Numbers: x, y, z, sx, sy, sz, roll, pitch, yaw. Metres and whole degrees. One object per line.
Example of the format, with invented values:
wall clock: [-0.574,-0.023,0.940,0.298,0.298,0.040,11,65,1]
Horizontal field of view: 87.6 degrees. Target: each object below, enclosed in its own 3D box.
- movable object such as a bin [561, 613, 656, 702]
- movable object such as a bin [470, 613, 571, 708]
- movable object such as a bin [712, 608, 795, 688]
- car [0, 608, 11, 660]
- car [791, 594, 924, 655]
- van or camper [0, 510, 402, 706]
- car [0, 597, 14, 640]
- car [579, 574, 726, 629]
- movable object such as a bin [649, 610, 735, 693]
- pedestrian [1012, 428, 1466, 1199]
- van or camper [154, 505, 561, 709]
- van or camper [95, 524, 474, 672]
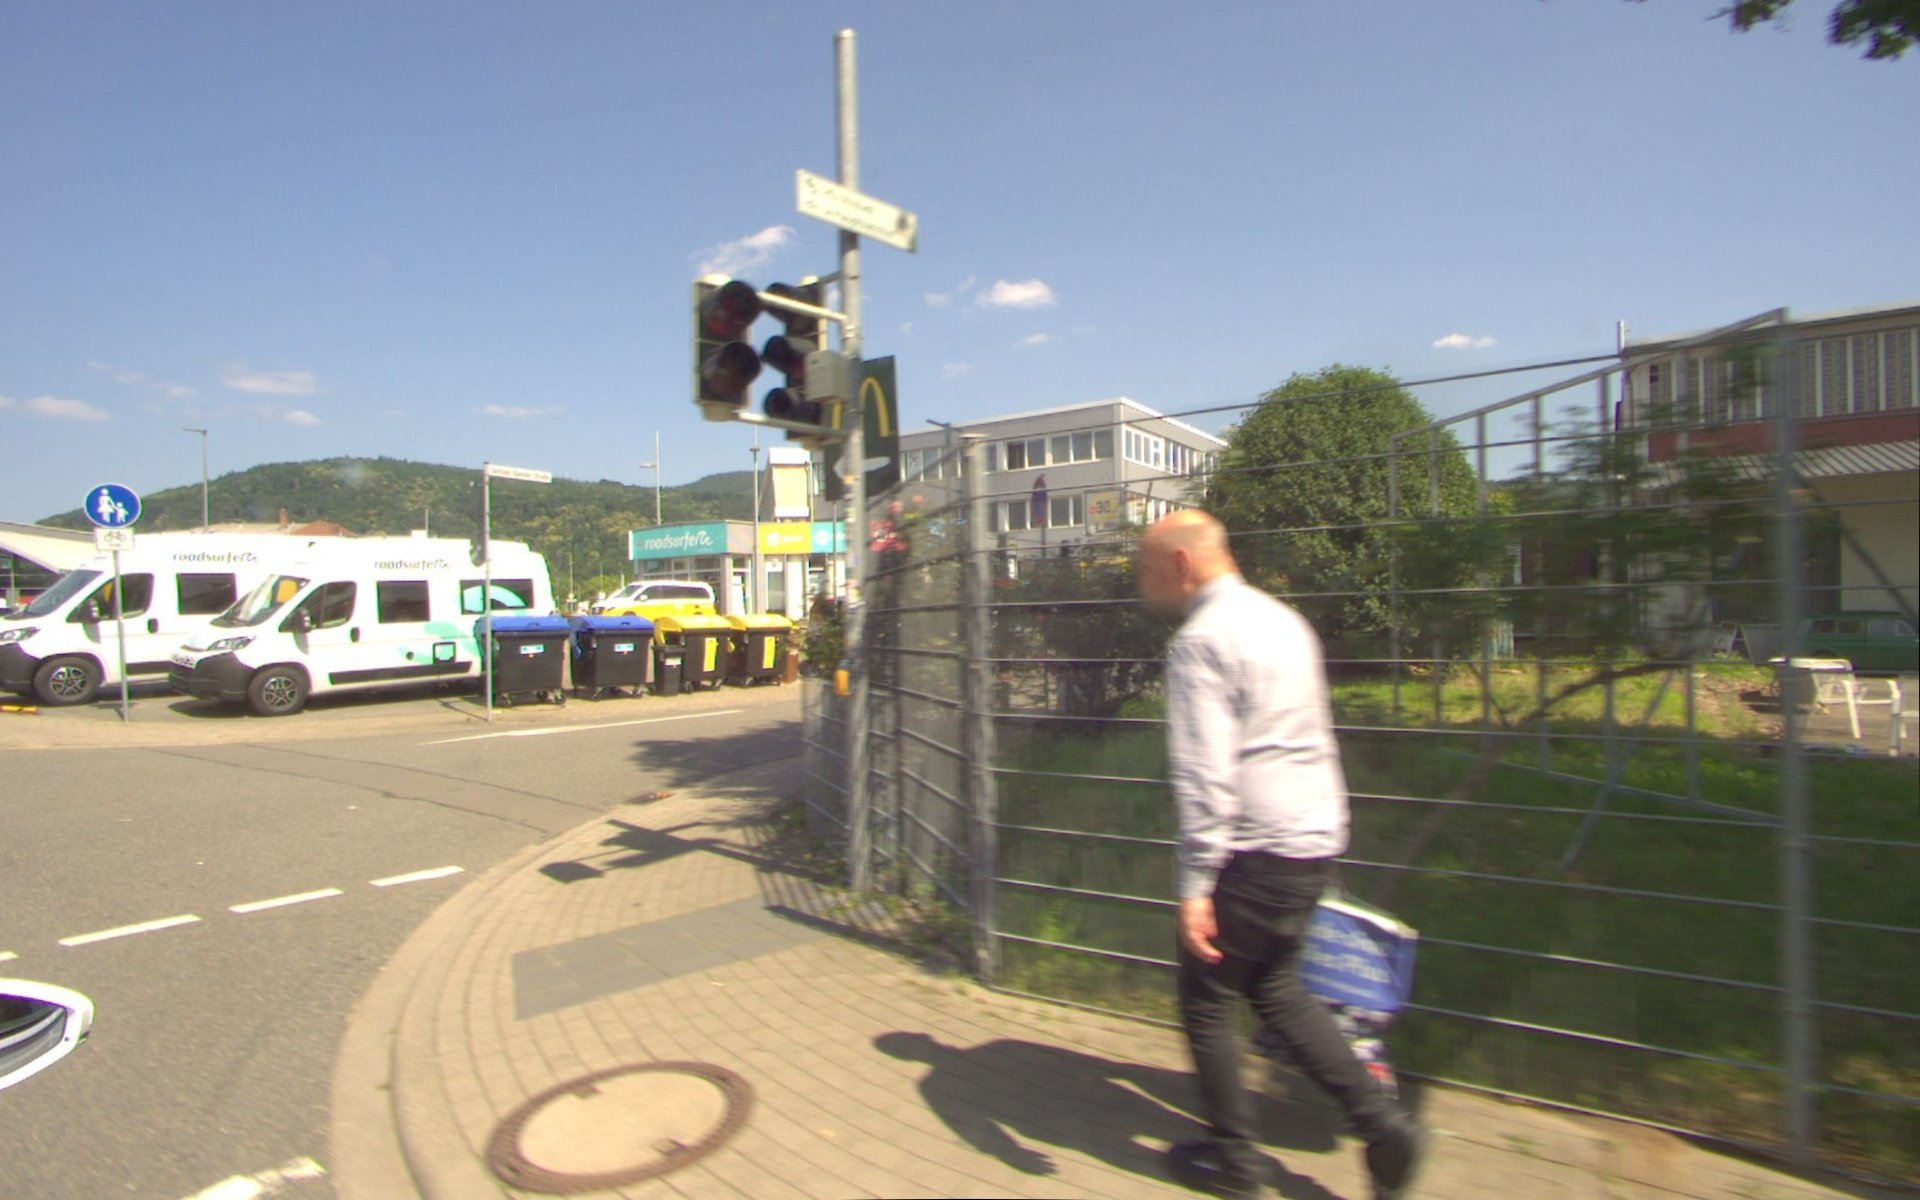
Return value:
movable object such as a bin: [-6.244,0.990,17.798,1.008,1.477,1.279,2,1,43]
movable object such as a bin: [-7.298,0.966,16.637,1.068,1.477,1.245,3,2,45]
movable object such as a bin: [-4.252,0.961,20.653,1.051,1.552,1.324,2,1,41]
car: [-32.551,1.139,32.275,1.973,1.756,4.537,-1,0,-32]
car: [-2.796,0.643,28.063,1.788,1.536,3.878,2,1,29]
van or camper: [-13.033,0.103,17.120,2.063,2.811,5.792,1,1,35]
car: [-44.492,0.834,43.886,2.058,1.935,4.636,0,0,-8]
car: [-12.274,0.100,40.312,2.111,2.040,5.431,0,-1,38]
movable object such as a bin: [-5.145,0.958,19.241,1.007,1.496,1.230,2,1,41]
pedestrian: [0.709,0.547,2.432,0.874,1.722,0.811,0,1,31]
van or camper: [-9.767,0.118,16.761,2.021,2.852,5.488,2,1,37]
van or camper: [-15.601,-0.090,23.791,2.302,2.986,7.043,-1,1,33]
